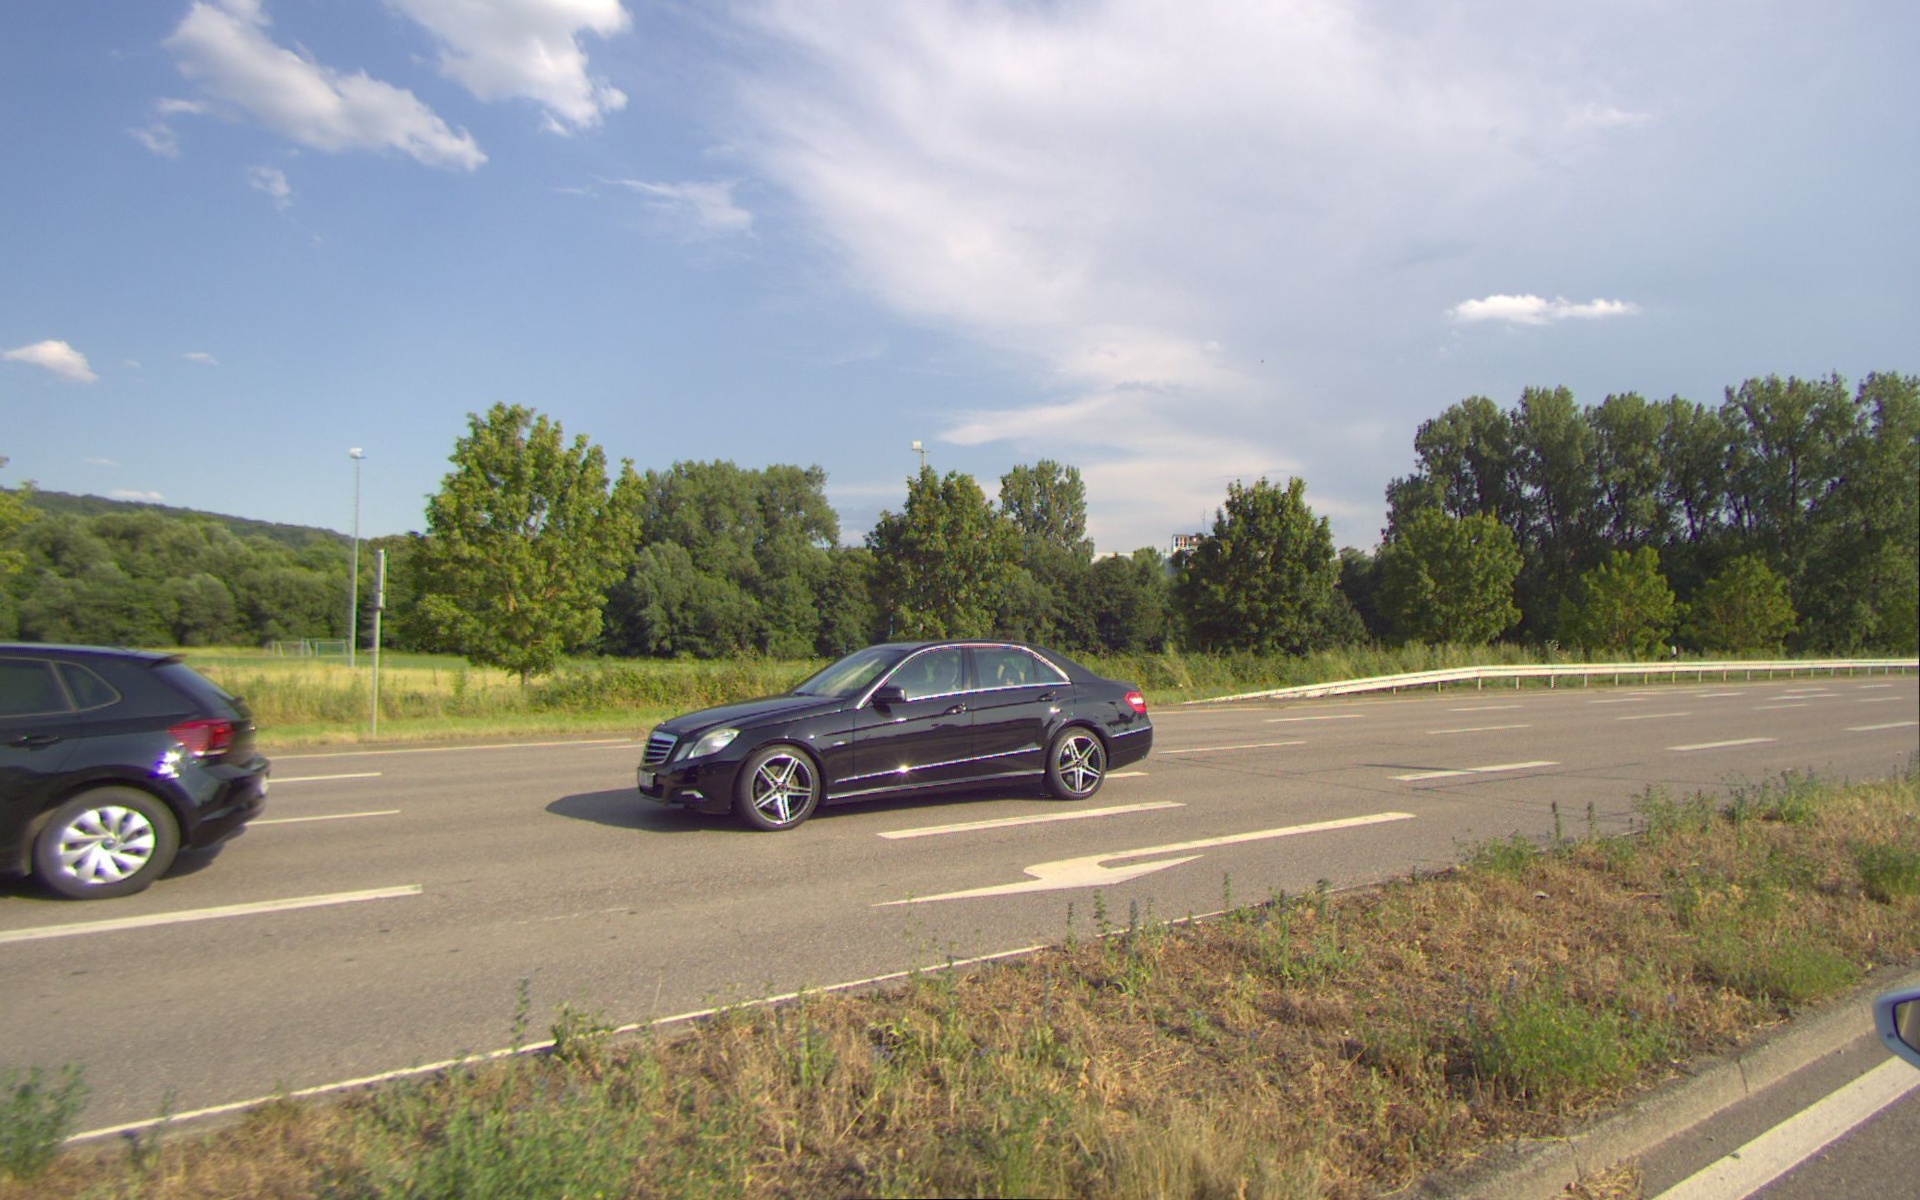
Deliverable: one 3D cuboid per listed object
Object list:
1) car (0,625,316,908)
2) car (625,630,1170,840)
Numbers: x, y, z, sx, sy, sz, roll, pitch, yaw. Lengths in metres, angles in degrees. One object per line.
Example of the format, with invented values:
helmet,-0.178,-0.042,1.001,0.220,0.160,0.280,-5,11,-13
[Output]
car,-6.165,0.901,5.641,4.197,1.492,1.694,2,-4,-32
car,-0.445,1.045,9.076,4.672,1.483,1.707,1,-3,-31
